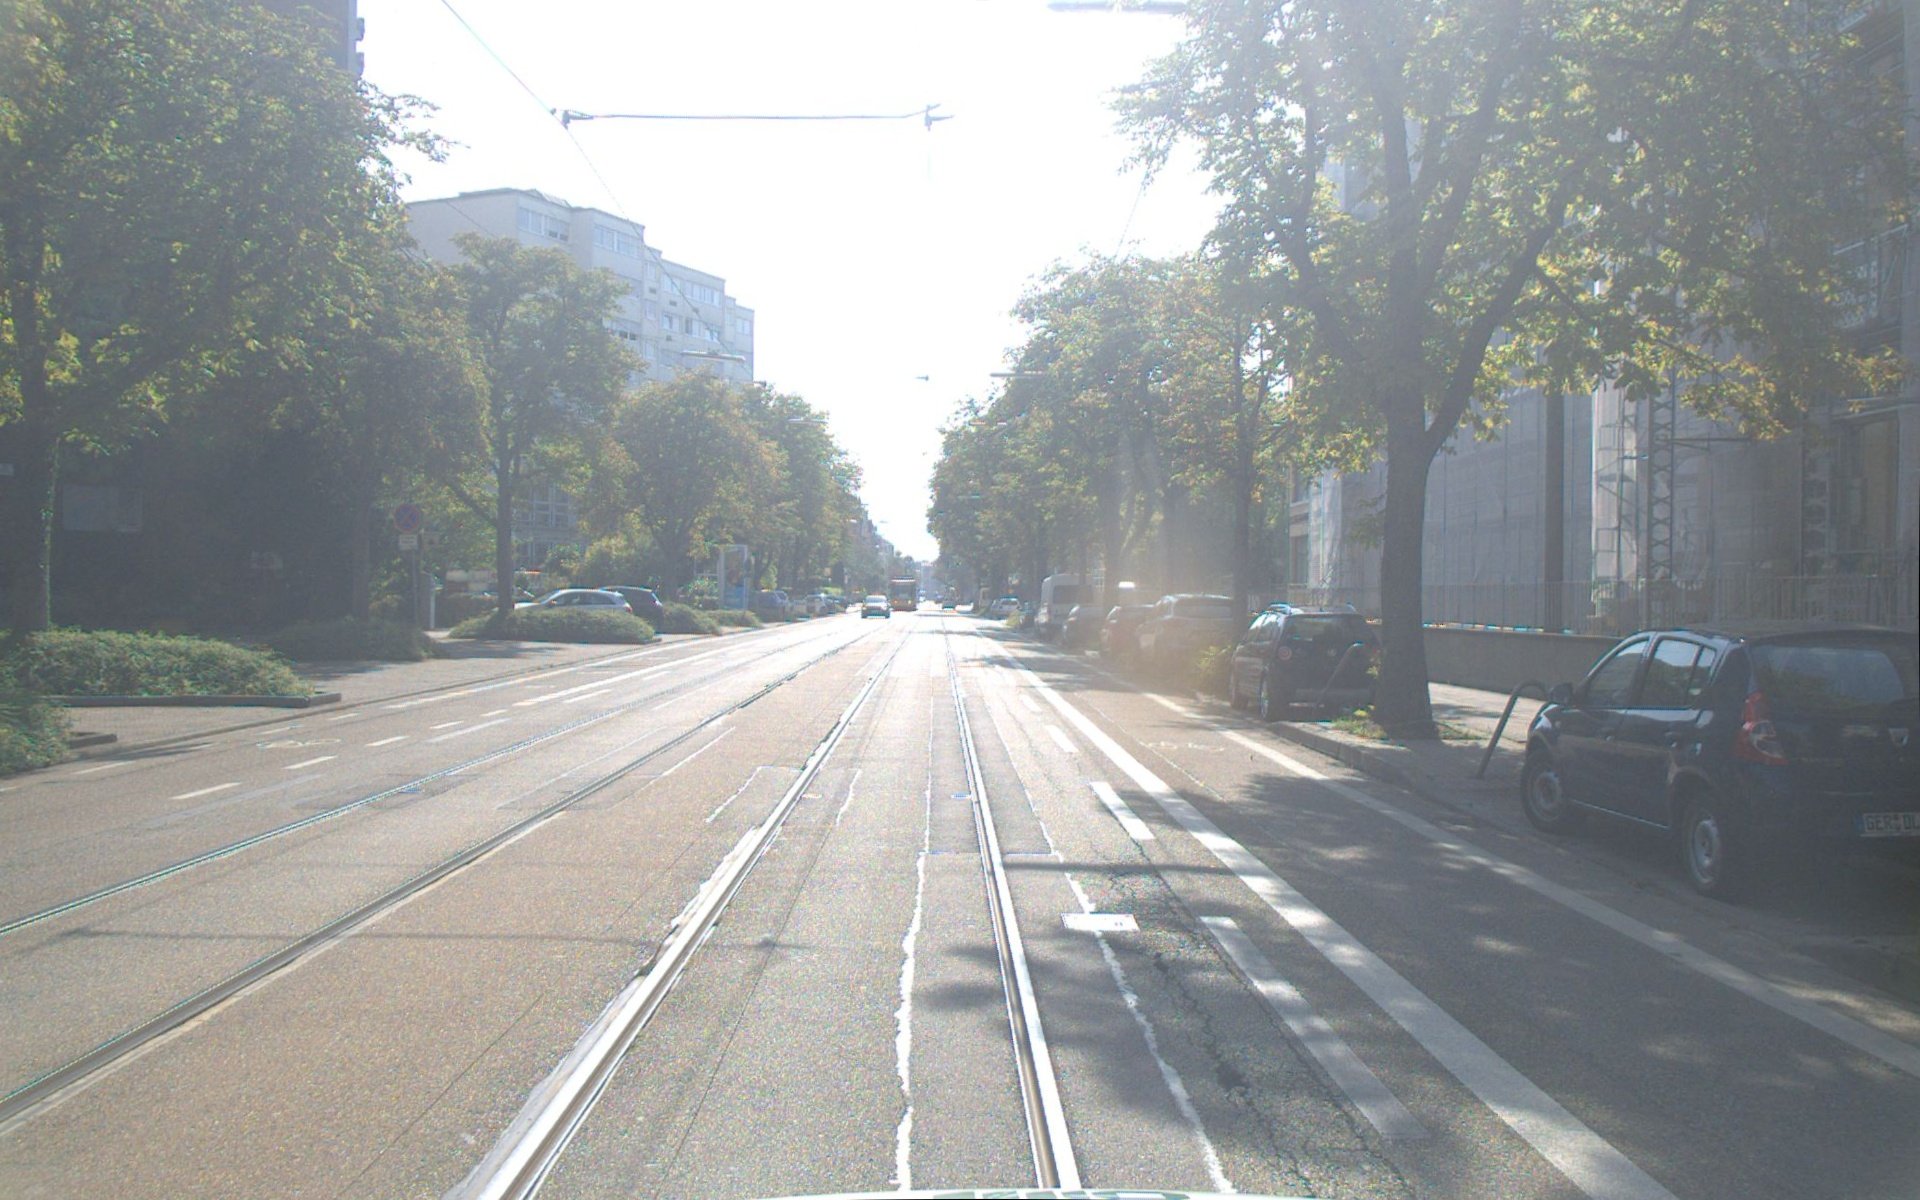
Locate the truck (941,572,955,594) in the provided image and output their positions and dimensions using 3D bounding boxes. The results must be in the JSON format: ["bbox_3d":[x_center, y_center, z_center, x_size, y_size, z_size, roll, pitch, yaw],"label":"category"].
[{"bbox_3d":[-1.850,-2.519,248.812,1.823,3.185,4.350,1,0,-3],"label":"truck"}]

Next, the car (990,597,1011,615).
[{"bbox_3d":[3.182,0.467,131.216,1.562,1.443,3.634,1,0,0],"label":"car"}]

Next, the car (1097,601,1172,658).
[{"bbox_3d":[4.637,0.763,44.378,1.583,1.438,4.000,0,0,0],"label":"car"}]

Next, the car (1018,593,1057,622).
[{"bbox_3d":[3.893,0.379,83.896,1.718,1.402,4.718,-1,0,-1],"label":"car"}]

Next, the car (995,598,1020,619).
[{"bbox_3d":[3.345,0.571,117.394,1.655,1.443,3.634,1,0,0],"label":"car"}]

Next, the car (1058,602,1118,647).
[{"bbox_3d":[4.164,0.789,54.477,1.583,1.398,4.827,0,0,0],"label":"car"}]

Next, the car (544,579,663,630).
[{"bbox_3d":[-11.882,0.150,55.137,3.589,1.542,1.608,2,0,-26],"label":"car"}]

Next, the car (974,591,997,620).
[{"bbox_3d":[2.443,0.535,159.152,1.964,2.533,4.476,4,-1,0],"label":"car"}]

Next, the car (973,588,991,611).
[{"bbox_3d":[2.457,-0.112,186.228,1.963,2.518,4.477,1,0,0],"label":"car"}]

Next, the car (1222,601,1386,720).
[{"bbox_3d":[4.815,0.798,23.610,1.543,1.510,3.738,-1,1,0],"label":"car"}]

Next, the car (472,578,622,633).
[{"bbox_3d":[-12.079,0.165,48.431,3.946,1.505,1.771,1,0,-31],"label":"car"}]

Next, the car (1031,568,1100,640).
[{"bbox_3d":[4.089,0.152,64.837,2.041,2.597,5.499,-2,0,-2],"label":"car"}]

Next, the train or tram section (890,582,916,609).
[{"bbox_3d":[-6.247,-0.481,181.163,2.673,2.899,6.542,1,0,-1],"label":"train or tram section"}]

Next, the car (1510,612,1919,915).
[{"bbox_3d":[4.991,0.880,10.646,1.612,1.537,3.778,-1,0,0],"label":"car"}]

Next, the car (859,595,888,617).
[{"bbox_3d":[-5.639,0.370,108.206,1.791,1.400,4.511,1,0,-2],"label":"car"}]

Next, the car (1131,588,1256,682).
[{"bbox_3d":[4.693,0.655,33.824,1.718,1.721,4.394,2,1,-3],"label":"car"}]

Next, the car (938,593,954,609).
[{"bbox_3d":[-1.702,0.096,204.185,1.952,1.870,4.000,1,0,0],"label":"car"}]

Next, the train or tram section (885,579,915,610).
[{"bbox_3d":[-6.100,-0.522,170.142,2.673,2.945,15.452,1,0,-1],"label":"train or tram section"}]
